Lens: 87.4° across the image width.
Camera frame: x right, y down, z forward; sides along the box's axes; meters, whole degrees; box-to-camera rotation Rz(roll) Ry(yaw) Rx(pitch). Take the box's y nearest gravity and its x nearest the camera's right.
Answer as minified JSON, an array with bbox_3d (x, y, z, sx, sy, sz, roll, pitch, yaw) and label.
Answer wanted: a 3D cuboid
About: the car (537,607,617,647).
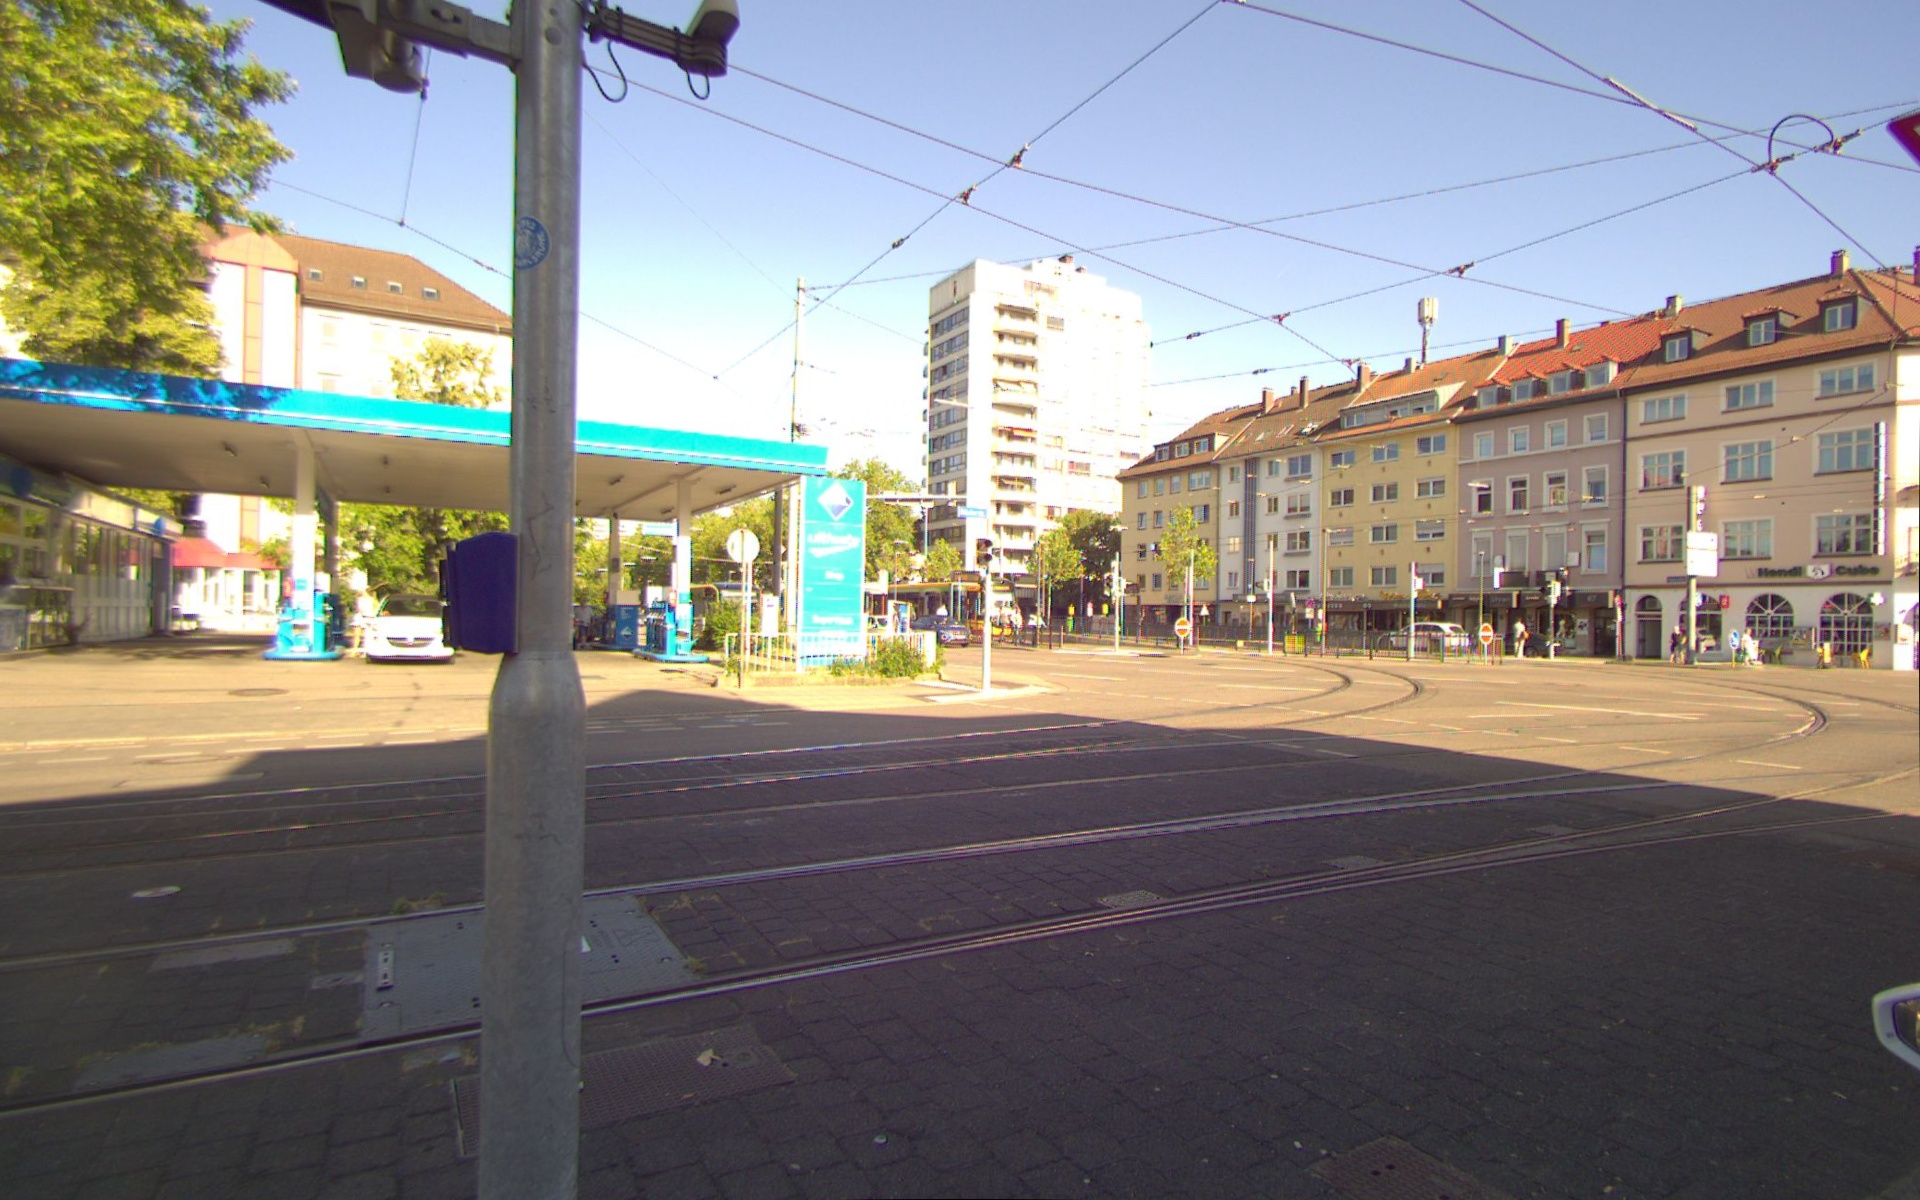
[{"bbox_3d":[-17.209,1.211,45.376,1.960,1.685,4.001,1,-1,2],"label":"car"}]

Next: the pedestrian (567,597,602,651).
[{"bbox_3d":[-13.055,0.826,34.902,0.903,1.826,0.886,1,-1,-36],"label":"pedestrian"}]

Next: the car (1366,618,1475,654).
[{"bbox_3d":[23.567,1.807,51.616,1.978,1.682,4.822,1,-1,-32],"label":"car"}]

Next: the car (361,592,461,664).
[{"bbox_3d":[-12.276,0.607,22.426,1.773,1.461,3.968,2,-1,-30],"label":"car"}]

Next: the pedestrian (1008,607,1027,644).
[{"bbox_3d":[2.729,1.215,47.567,0.549,1.721,0.740,1,-1,-33],"label":"pedestrian"}]

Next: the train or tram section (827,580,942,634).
[{"bbox_3d":[-5.257,0.518,67.575,3.252,3.335,10.157,1,-1,-33],"label":"train or tram section"}]

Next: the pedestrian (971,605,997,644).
[{"bbox_3d":[1.152,1.188,48.632,0.902,1.826,0.887,1,-1,-33],"label":"pedestrian"}]

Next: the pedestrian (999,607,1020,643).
[{"bbox_3d":[2.461,1.235,49.705,0.773,1.721,0.692,1,-1,-33],"label":"pedestrian"}]

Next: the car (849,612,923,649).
[{"bbox_3d":[-3.512,1.393,46.800,1.976,1.615,3.970,1,-1,-29],"label":"car"}]

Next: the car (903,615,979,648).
[{"bbox_3d":[-0.964,1.491,48.342,1.937,1.475,4.077,1,0,-30],"label":"car"}]

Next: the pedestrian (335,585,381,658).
[{"bbox_3d":[-13.905,0.505,23.228,0.801,1.652,0.643,1,-1,-24],"label":"pedestrian"}]

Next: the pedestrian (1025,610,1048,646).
[{"bbox_3d":[3.499,1.273,46.176,0.791,1.646,0.706,1,-1,-33],"label":"pedestrian"}]

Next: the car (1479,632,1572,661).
[{"bbox_3d":[30.769,2.496,54.710,1.980,1.483,3.962,1,-1,-34],"label":"car"}]

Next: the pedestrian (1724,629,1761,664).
[{"bbox_3d":[36.665,2.174,47.057,1.029,1.612,1.061,1,-1,-28],"label":"pedestrian"}]

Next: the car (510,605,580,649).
[{"bbox_3d":[-13.507,0.864,32.571,1.752,1.332,3.520,1,-1,-28],"label":"car"}]

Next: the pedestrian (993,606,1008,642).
[{"bbox_3d":[1.960,1.177,48.936,0.491,1.721,0.553,1,-1,-33],"label":"pedestrian"}]

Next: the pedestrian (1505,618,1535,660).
[{"bbox_3d":[24.491,1.696,43.950,0.801,1.842,0.871,1,-1,-29],"label":"pedestrian"}]

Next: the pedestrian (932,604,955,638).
[{"bbox_3d":[-0.894,1.145,54.206,0.902,1.826,0.887,1,-1,-33],"label":"pedestrian"}]

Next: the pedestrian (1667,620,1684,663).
[{"bbox_3d":[34.205,1.984,48.016,0.498,2.040,0.507,1,-1,-27],"label":"pedestrian"}]

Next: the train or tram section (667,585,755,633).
[{"bbox_3d":[-15.036,0.449,60.032,2.233,2.627,10.398,2,0,-30],"label":"train or tram section"}]

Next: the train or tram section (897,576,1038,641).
[{"bbox_3d":[0.224,0.516,58.957,3.252,3.459,10.157,1,-1,-33],"label":"train or tram section"}]

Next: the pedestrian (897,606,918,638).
[{"bbox_3d":[-3.034,1.276,58.204,0.902,1.826,0.887,1,-1,-33],"label":"pedestrian"}]
